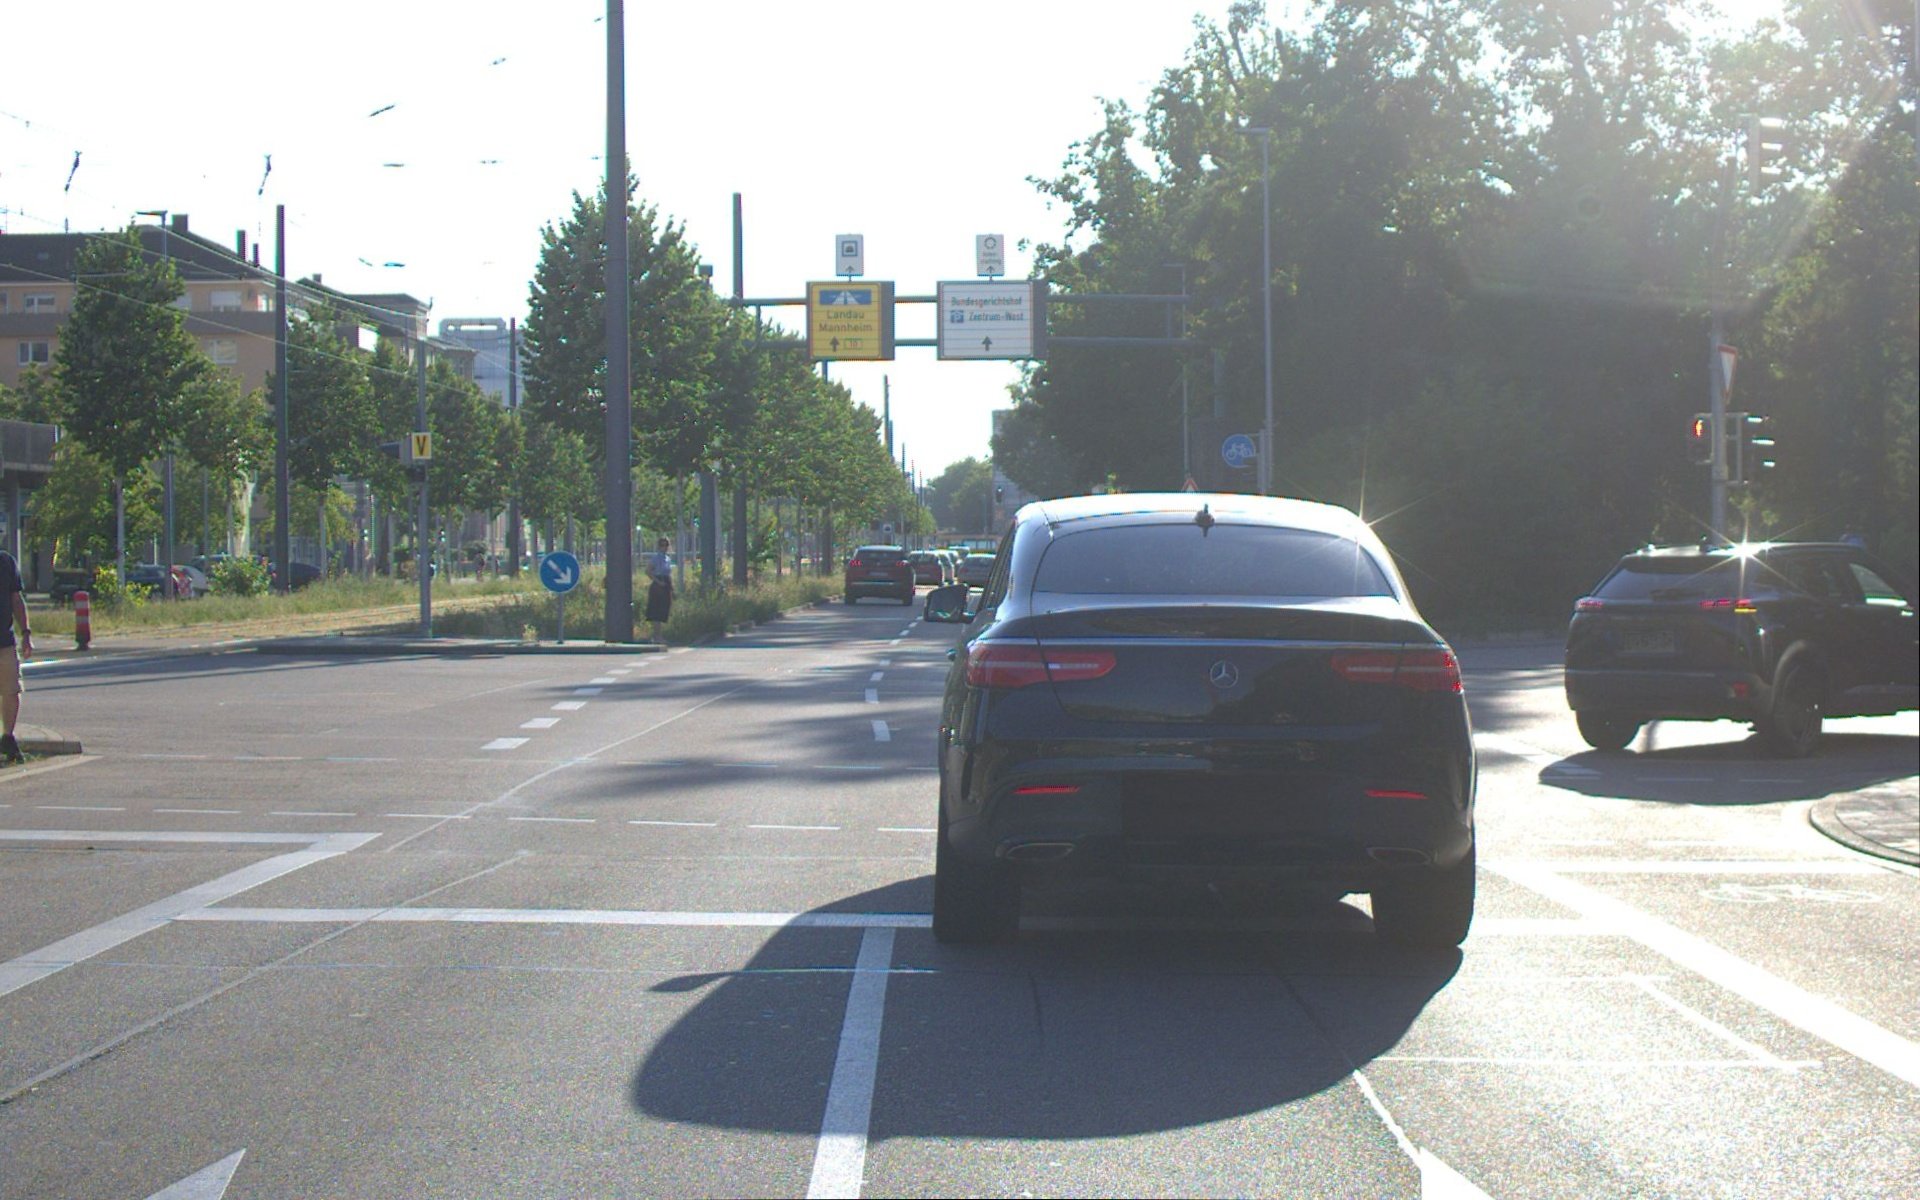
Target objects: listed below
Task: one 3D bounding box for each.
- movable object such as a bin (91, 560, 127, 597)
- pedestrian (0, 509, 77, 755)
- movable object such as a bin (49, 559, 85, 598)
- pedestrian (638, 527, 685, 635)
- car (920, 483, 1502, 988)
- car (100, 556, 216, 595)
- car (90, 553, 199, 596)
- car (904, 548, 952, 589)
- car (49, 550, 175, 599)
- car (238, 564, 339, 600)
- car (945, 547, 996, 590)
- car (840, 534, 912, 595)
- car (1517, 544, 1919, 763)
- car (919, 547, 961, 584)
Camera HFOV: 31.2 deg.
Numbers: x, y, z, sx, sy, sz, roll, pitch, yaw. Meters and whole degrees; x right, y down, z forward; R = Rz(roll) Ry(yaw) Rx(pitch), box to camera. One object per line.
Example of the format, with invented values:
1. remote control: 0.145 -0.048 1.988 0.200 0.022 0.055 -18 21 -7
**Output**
1. movable object such as a bin: -29.793 -0.749 120.395 0.858 1.276 0.939 0 1 15
2. pedestrian: -6.648 0.211 23.481 0.925 1.643 0.765 0 1 16
3. movable object such as a bin: -31.183 -0.766 120.094 0.858 1.353 0.939 0 1 15
4. pedestrian: -4.712 -0.302 54.236 0.598 1.693 0.714 0 1 6
5. car: 0.907 0.415 13.900 1.993 1.728 4.000 1 2 1
6. car: -30.800 -0.948 132.074 1.785 1.448 3.990 2 1 43
7. car: -30.638 -0.966 129.217 3.615 1.518 1.620 1 0 -40
8. car: -1.297 -1.307 139.547 1.885 1.575 4.000 1 2 0
9. car: -30.891 -0.927 125.275 4.084 1.595 1.749 2 1 -40
10. car: -30.070 -0.794 153.988 3.988 1.557 1.999 0 1 -41
11. car: 0.385 -1.213 131.068 1.885 1.575 4.000 1 2 0
12. car: -2.283 -0.992 94.516 1.885 1.575 4.000 1 2 0
13. car: 6.196 0.337 26.140 1.902 1.522 4.048 1 1 44
14. car: -0.890 -1.564 155.288 1.885 1.575 4.000 1 2 0
